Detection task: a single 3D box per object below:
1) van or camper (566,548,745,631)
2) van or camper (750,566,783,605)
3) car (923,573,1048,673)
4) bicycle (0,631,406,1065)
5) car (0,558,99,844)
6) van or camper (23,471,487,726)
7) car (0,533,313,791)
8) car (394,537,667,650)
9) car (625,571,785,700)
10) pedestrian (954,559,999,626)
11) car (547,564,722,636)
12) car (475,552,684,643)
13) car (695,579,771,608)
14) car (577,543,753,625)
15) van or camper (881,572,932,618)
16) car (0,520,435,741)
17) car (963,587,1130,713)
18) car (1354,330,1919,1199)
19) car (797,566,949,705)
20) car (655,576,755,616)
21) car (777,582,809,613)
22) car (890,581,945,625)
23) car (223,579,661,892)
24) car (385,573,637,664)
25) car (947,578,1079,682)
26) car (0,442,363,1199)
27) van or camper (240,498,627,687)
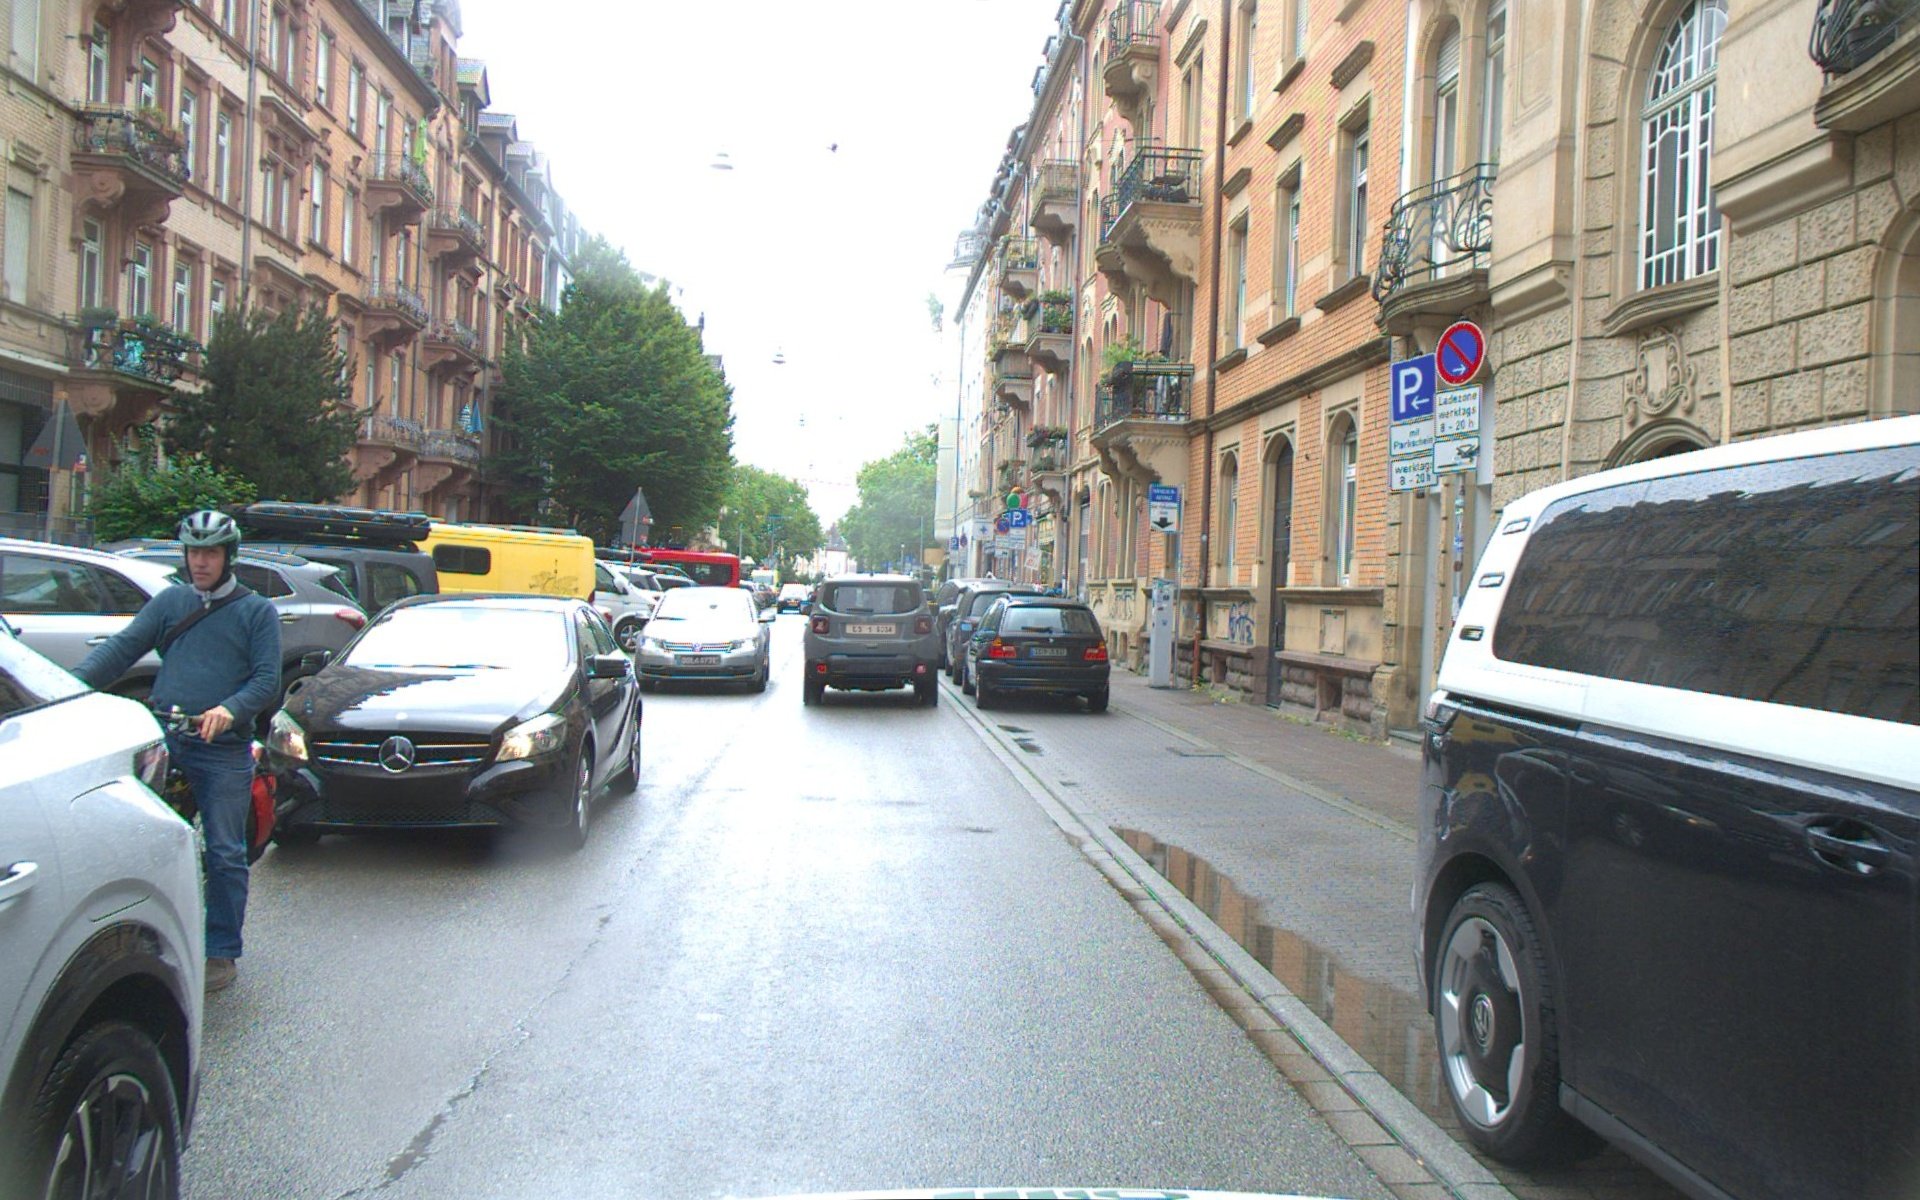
[{"bbox_3d":[-9.512,-0.316,51.709,4.957,2.390,2.321,2,1,-31],"label":"van or camper"},{"bbox_3d":[-14.473,-1.051,124.179,2.080,2.575,6.868,-2,-1,-4],"label":"van or camper"},{"bbox_3d":[0.419,0.419,32.879,1.955,1.810,4.821,1,0,-5],"label":"car"},{"bbox_3d":[-2.725,0.776,6.152,0.755,1.201,2.267,1,2,-6],"label":"bicycle"},{"bbox_3d":[-6.913,0.411,8.477,4.098,1.520,1.776,5,-2,-40],"label":"car"},{"bbox_3d":[-7.337,0.059,17.367,4.040,2.278,1.912,5,-2,-37],"label":"van or camper"},{"bbox_3d":[-6.928,0.372,11.505,4.100,1.691,1.775,5,-2,-41],"label":"car"},{"bbox_3d":[-8.909,-0.104,34.430,5.178,2.114,1.852,2,-1,-29],"label":"car"},{"bbox_3d":[-3.741,0.450,25.037,1.760,1.519,4.581,6,1,-3],"label":"car"},{"bbox_3d":[0.540,-0.238,52.565,0.666,1.958,0.812,0,-31,31],"label":"pedestrian"},{"bbox_3d":[-9.089,0.003,46.308,4.385,1.659,1.826,5,0,-31],"label":"car"},{"bbox_3d":[-9.113,-0.065,40.066,4.490,1.816,2.543,4,0,-5],"label":"car"},{"bbox_3d":[-12.000,-0.350,87.626,3.678,1.477,1.662,0,0,-40],"label":"car"},{"bbox_3d":[-10.129,-0.541,56.950,5.501,2.585,2.205,2,1,-32],"label":"car"},{"bbox_3d":[-2.378,-0.252,72.290,1.982,1.924,5.050,0,1,-4],"label":"van or camper"},{"bbox_3d":[-7.033,0.299,14.665,4.100,1.691,1.775,5,-2,-41],"label":"car"},{"bbox_3d":[1.071,0.601,22.553,1.751,1.492,4.481,2,0,-3],"label":"car"},{"bbox_3d":[2.599,0.527,3.096,1.955,1.973,5.223,0,0,-7],"label":"car"},{"bbox_3d":[-1.278,0.431,22.900,1.862,1.700,4.501,1,0,-5],"label":"car"},{"bbox_3d":[-10.900,-0.146,70.873,3.949,1.472,1.739,3,0,-45],"label":"car"},{"bbox_3d":[-8.994,-0.124,89.089,1.637,1.586,3.998,2,0,-6],"label":"car"},{"bbox_3d":[-1.650,0.107,62.888,1.805,1.572,3.999,1,0,-5],"label":"car"},{"bbox_3d":[-2.998,0.659,10.478,1.760,1.520,4.135,0,1,-5],"label":"car"},{"bbox_3d":[-7.932,0.342,29.314,3.950,1.461,1.764,2,0,-33],"label":"car"},{"bbox_3d":[0.806,0.442,27.770,1.834,1.589,4.342,1,1,-3],"label":"car"},{"bbox_3d":[-2.196,0.633,1.538,1.822,1.689,5.004,0,1,-5],"label":"car"},{"bbox_3d":[-7.383,-0.078,23.394,4.676,2.307,2.157,4,0,-37],"label":"van or camper"}]
